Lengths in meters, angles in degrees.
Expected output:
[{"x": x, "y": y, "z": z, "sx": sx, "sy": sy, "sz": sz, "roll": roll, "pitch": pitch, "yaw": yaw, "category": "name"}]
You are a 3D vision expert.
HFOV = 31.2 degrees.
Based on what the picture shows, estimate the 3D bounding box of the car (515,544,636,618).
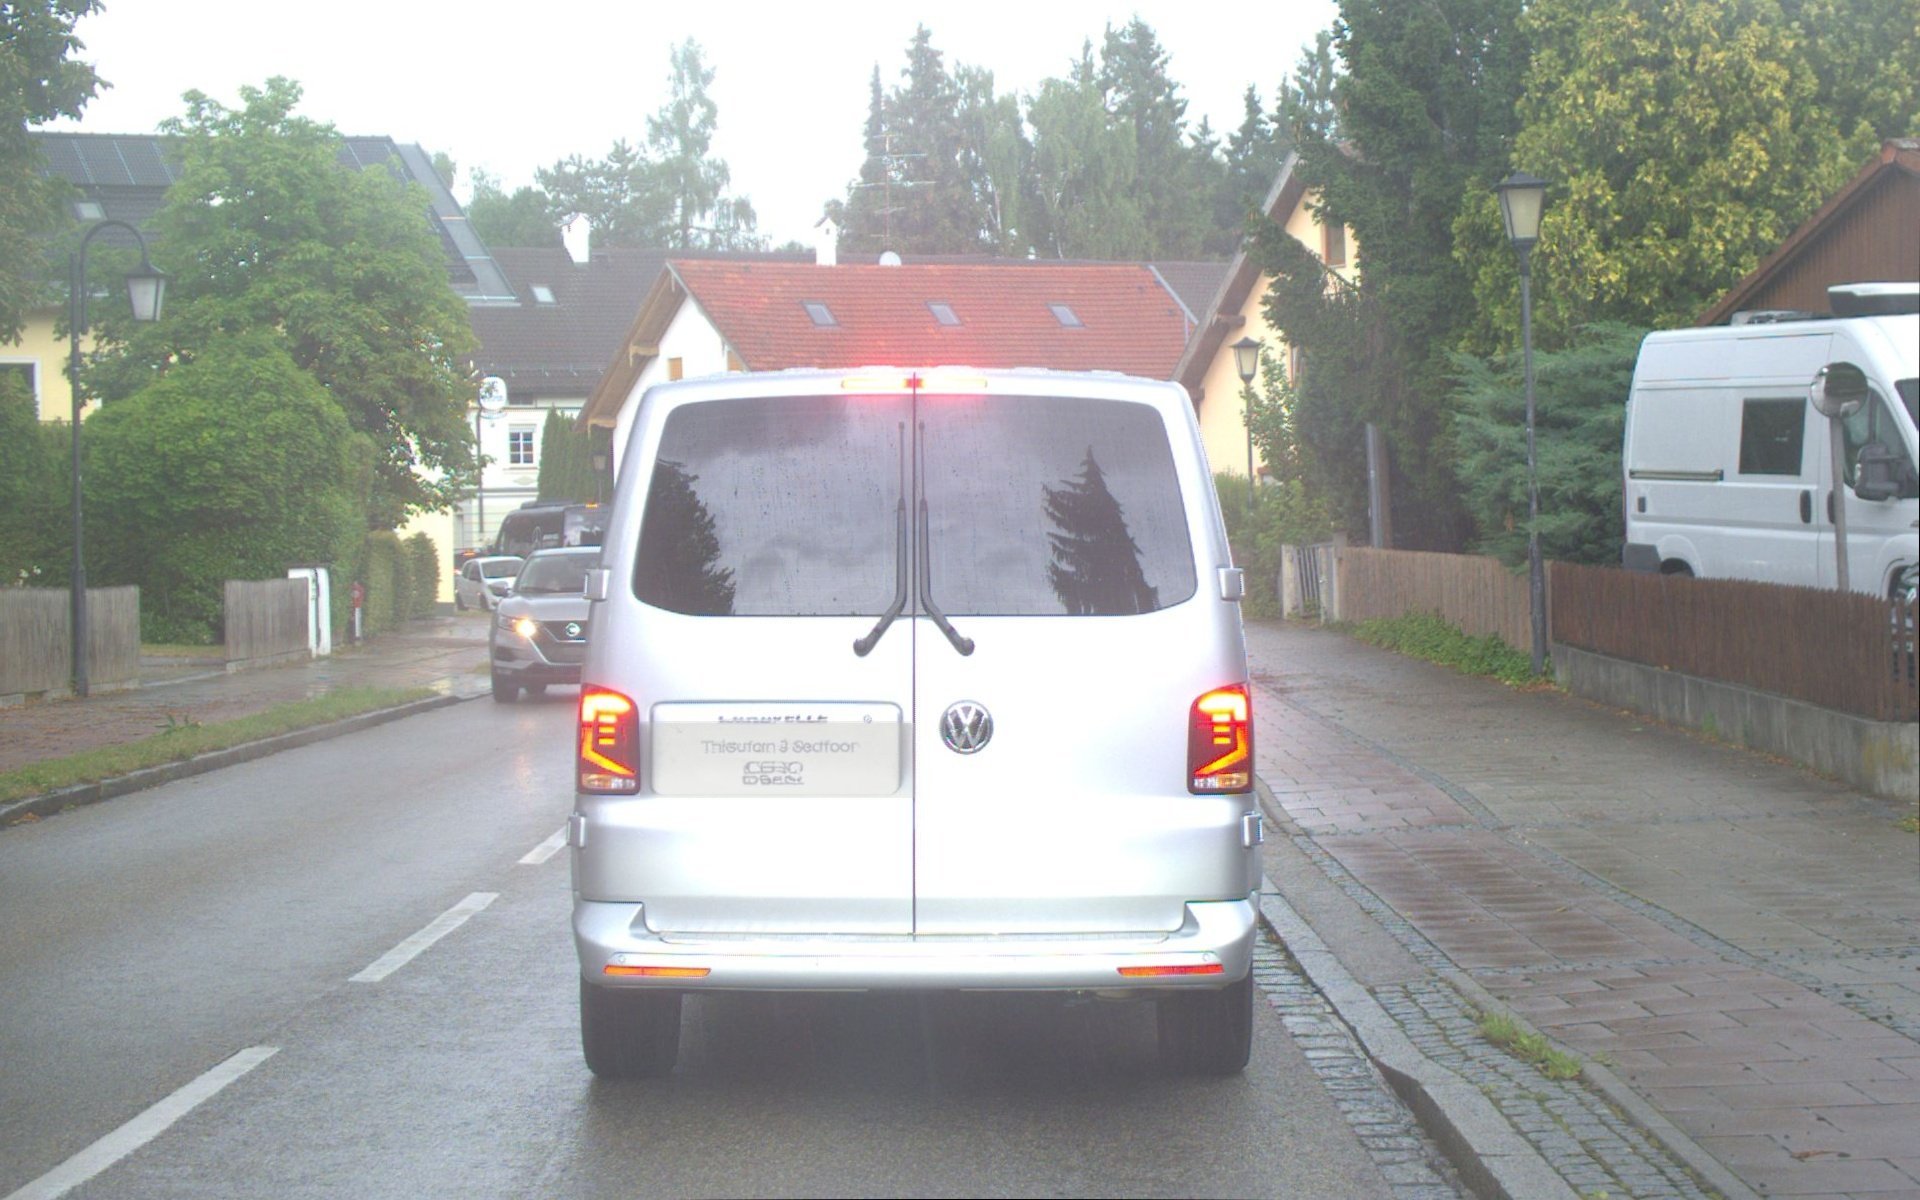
[{"x": -10.426, "y": -0.531, "z": 93.018, "sx": 1.993, "sy": 1.920, "sz": 4.001, "roll": 1, "pitch": 0, "yaw": -26, "category": "car"}]

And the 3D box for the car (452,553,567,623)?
[{"x": -11.436, "y": -0.321, "z": 87.017, "sx": 1.993, "sy": 1.697, "sz": 4.001, "roll": 1, "pitch": 0, "yaw": -21, "category": "car"}]

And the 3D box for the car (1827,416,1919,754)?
[{"x": 6.982, "y": -0.146, "z": 18.651, "sx": 4.093, "sy": 1.745, "sz": 1.695, "roll": -1, "pitch": 3, "yaw": -3, "category": "car"}]

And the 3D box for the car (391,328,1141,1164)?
[{"x": -0.396, "y": 0.346, "z": 10.403, "sx": 1.801, "sy": 2.007, "sz": 4.000, "roll": 1, "pitch": 0, "yaw": 2, "category": "car"}]

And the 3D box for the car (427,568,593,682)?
[{"x": -5.921, "y": 0.309, "z": 45.582, "sx": 1.618, "sy": 1.439, "sz": 3.670, "roll": 0, "pitch": 0, "yaw": 2, "category": "car"}]

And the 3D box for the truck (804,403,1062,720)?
[{"x": -0.289, "y": -0.390, "z": 36.955, "sx": 2.475, "sy": 3.063, "sz": 6.296, "roll": 1, "pitch": 0, "yaw": 0, "category": "truck"}]

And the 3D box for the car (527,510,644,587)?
[{"x": -10.122, "y": -1.379, "z": 92.673, "sx": 1.993, "sy": 2.007, "sz": 4.001, "roll": 1, "pitch": 0, "yaw": -24, "category": "car"}]

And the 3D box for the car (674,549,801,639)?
[{"x": -5.188, "y": -0.152, "z": 79.659, "sx": 1.993, "sy": 2.007, "sz": 4.001, "roll": 1, "pitch": 0, "yaw": -17, "category": "car"}]

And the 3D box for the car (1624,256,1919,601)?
[{"x": 6.551, "y": -1.078, "z": 23.666, "sx": 1.993, "sy": 2.166, "sz": 4.954, "roll": 1, "pitch": 0, "yaw": -13, "category": "car"}]

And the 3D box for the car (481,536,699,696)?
[{"x": -3.827, "y": 0.154, "z": 36.147, "sx": 1.827, "sy": 1.553, "sz": 4.177, "roll": -1, "pitch": 0, "yaw": 0, "category": "car"}]
